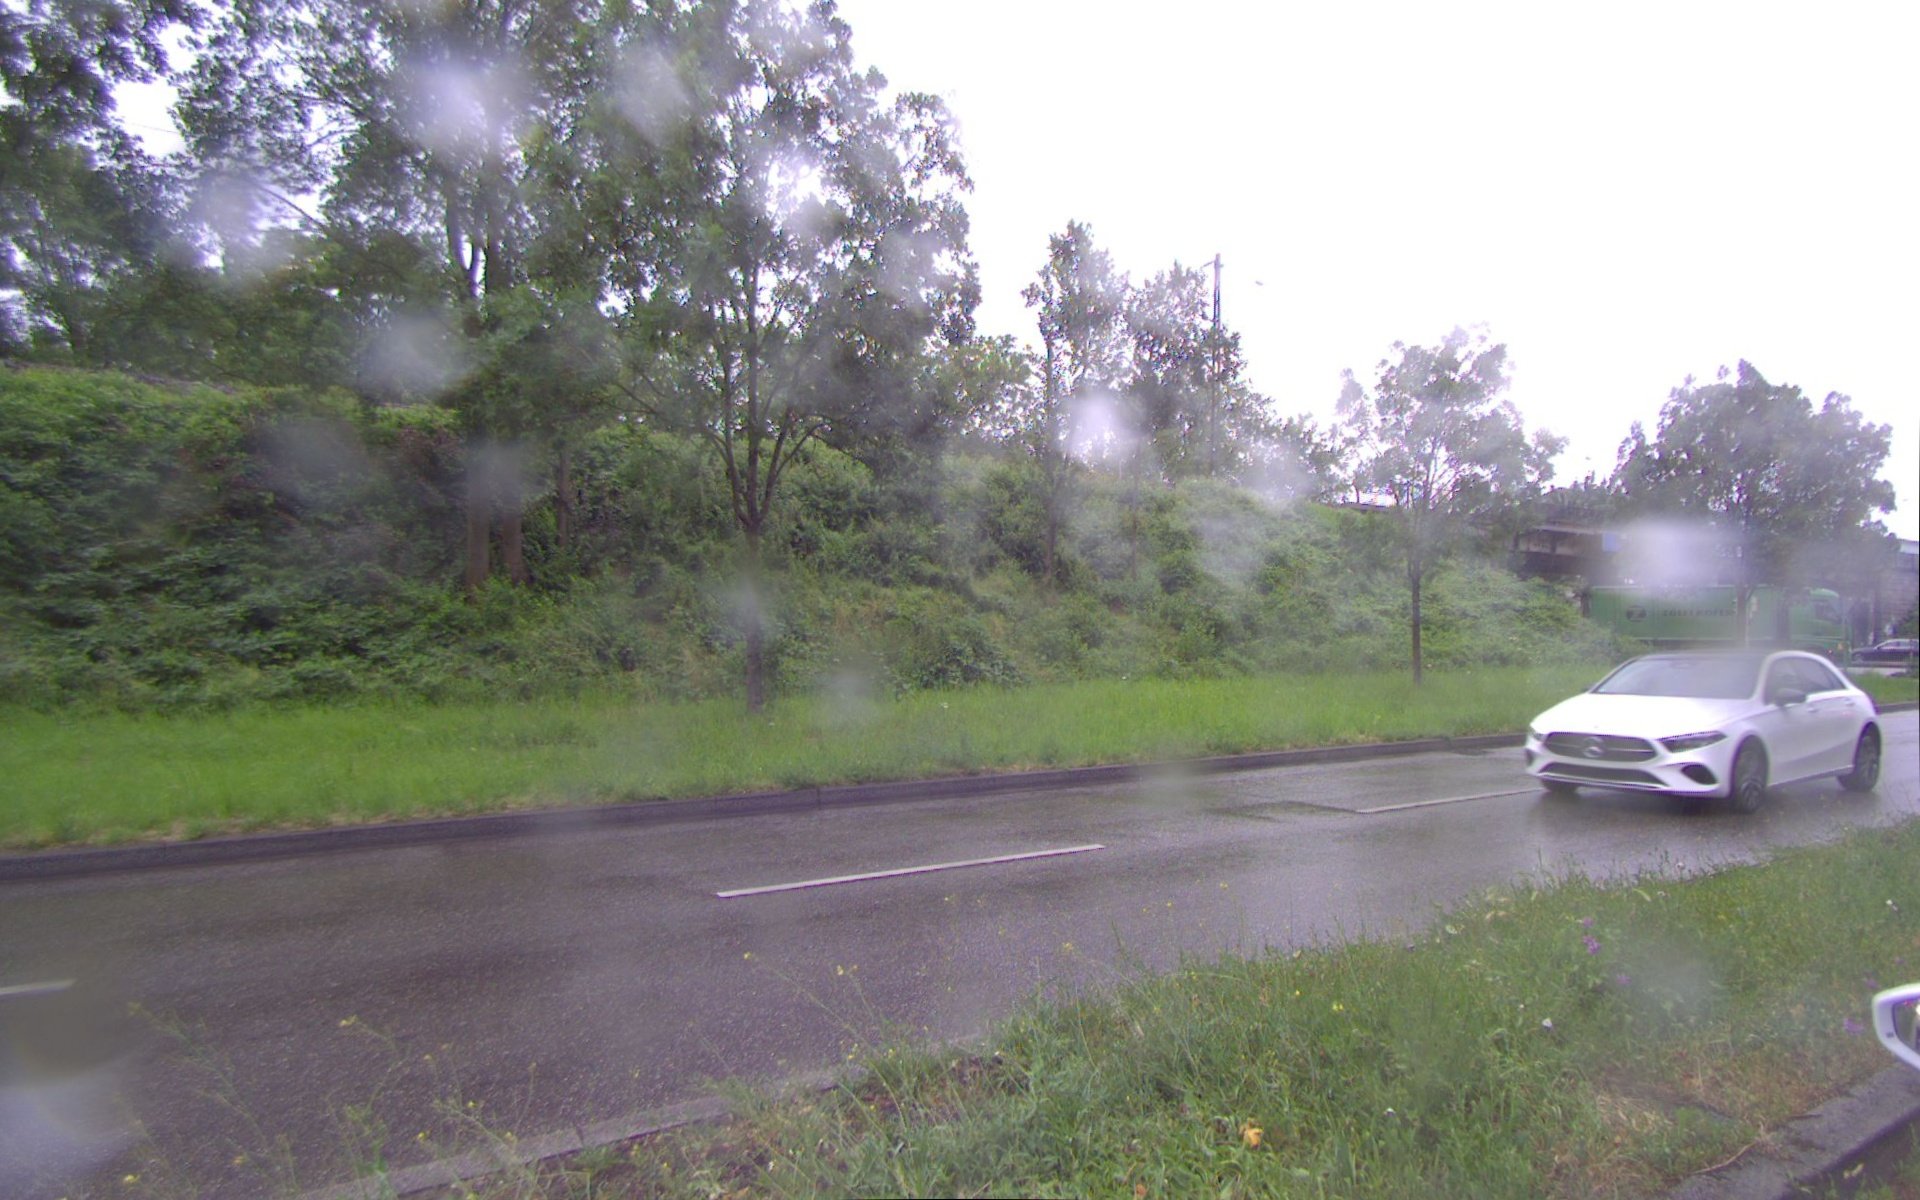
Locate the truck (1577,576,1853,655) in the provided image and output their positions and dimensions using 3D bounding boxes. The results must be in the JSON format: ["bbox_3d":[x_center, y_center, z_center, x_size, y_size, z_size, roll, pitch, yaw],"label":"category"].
[{"bbox_3d":[34.372,0.677,46.304,9.872,3.416,2.346,0,-1,25],"label":"truck"}]

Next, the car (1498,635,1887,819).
[{"bbox_3d":[7.476,1.177,10.184,4.001,1.539,1.726,2,-4,-31],"label":"car"}]

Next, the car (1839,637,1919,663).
[{"bbox_3d":[53.475,2.872,57.948,3.796,1.403,1.680,0,-1,24],"label":"car"}]
